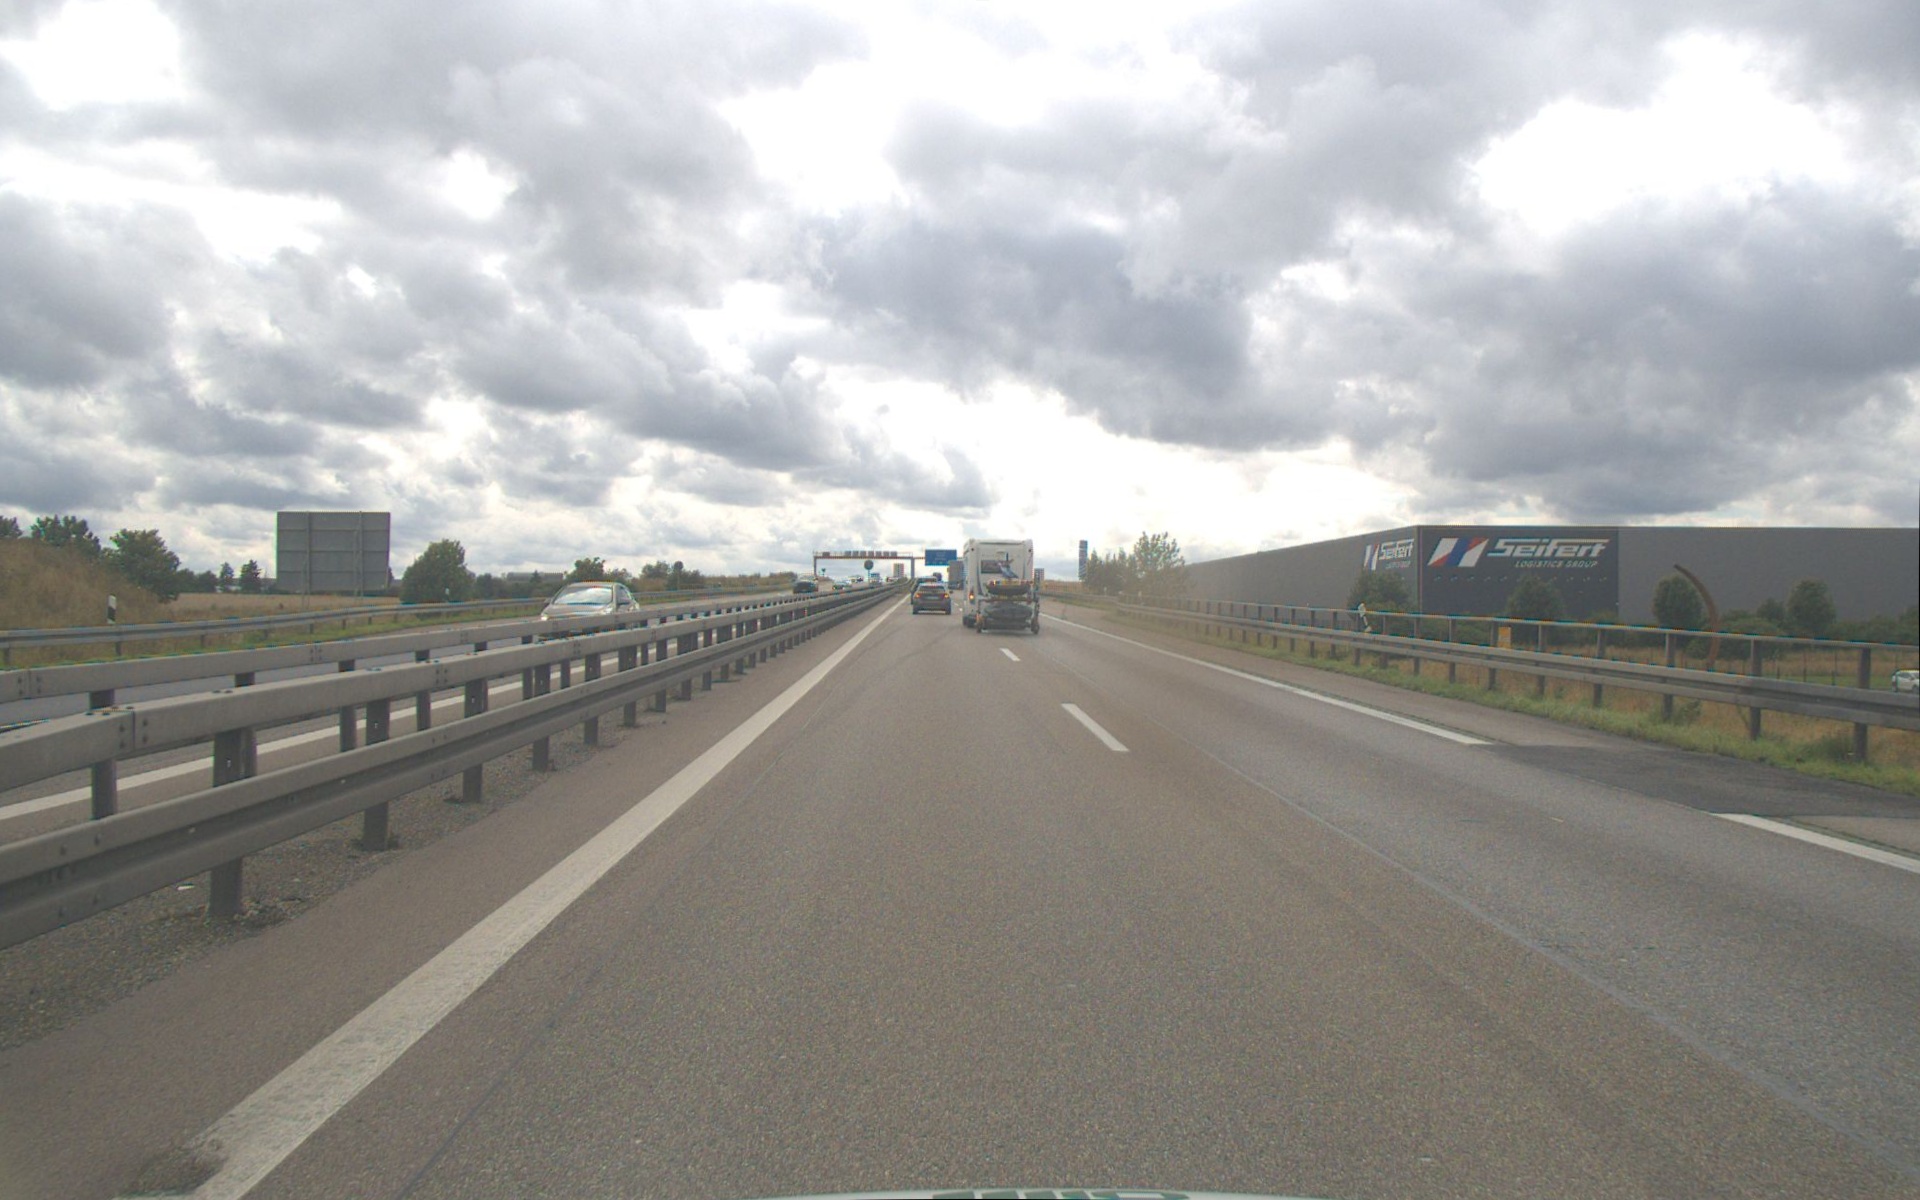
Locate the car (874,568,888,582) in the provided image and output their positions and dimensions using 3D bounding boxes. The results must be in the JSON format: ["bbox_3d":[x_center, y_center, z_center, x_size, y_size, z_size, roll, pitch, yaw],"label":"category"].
[{"bbox_3d":[-11.436,-3.641,238.597,1.954,2.049,4.382,1,1,-3],"label":"car"}]

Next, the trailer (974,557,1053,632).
[{"bbox_3d":[1.620,-0.159,50.135,2.290,2.174,4.001,0,0,1],"label":"trailer"}]

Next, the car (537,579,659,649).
[{"bbox_3d":[-8.374,0.318,38.660,1.868,1.539,4.728,0,0,-1],"label":"car"}]

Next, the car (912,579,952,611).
[{"bbox_3d":[-1.302,-0.210,77.544,1.710,1.478,4.001,0,0,2],"label":"car"}]

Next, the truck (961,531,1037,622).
[{"bbox_3d":[1.281,-0.750,57.294,2.431,3.002,5.814,0,0,0],"label":"truck"}]

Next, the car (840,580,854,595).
[{"bbox_3d":[-16.551,-1.838,242.458,1.954,2.049,4.381,0,0,-3],"label":"car"}]

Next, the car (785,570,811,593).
[{"bbox_3d":[-14.749,-1.707,150.984,1.953,2.049,6.100,0,1,-1],"label":"car"}]
